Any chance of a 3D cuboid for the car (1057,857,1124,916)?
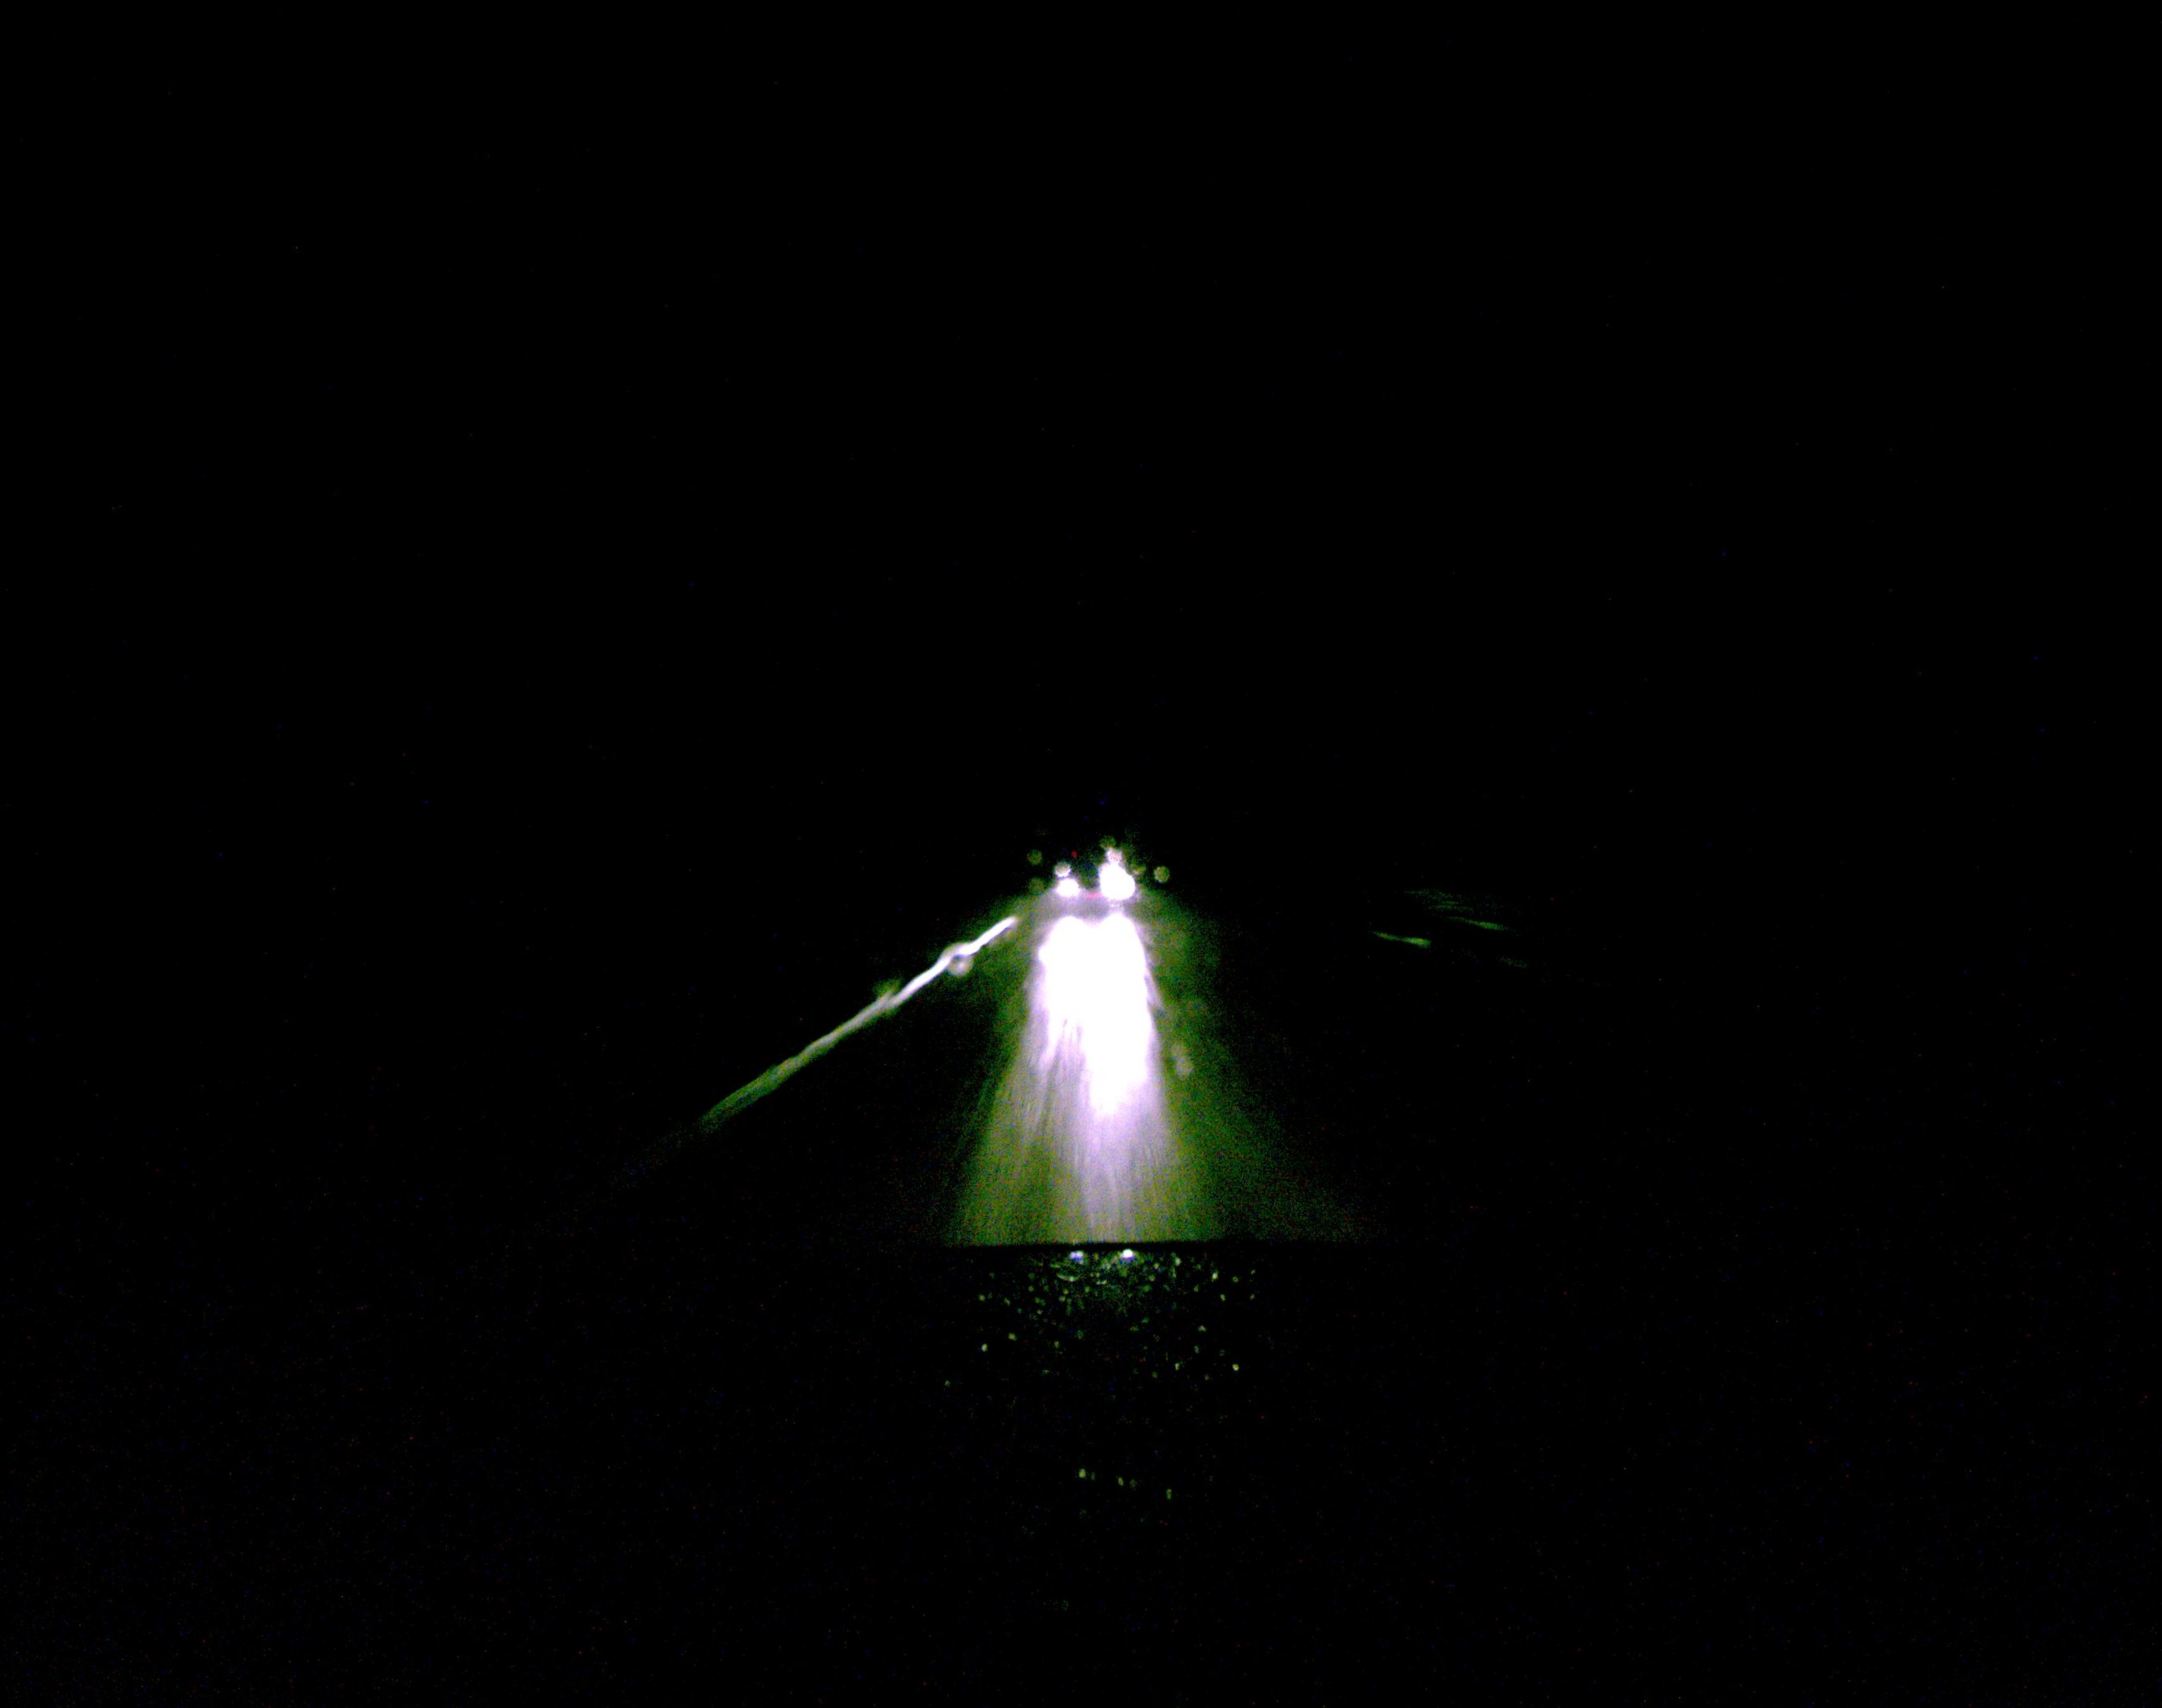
[{"bbox_3d":[0.346,0.946,24.097,1.862,1.601,4.420,-3,0,2],"label":"car"}]
